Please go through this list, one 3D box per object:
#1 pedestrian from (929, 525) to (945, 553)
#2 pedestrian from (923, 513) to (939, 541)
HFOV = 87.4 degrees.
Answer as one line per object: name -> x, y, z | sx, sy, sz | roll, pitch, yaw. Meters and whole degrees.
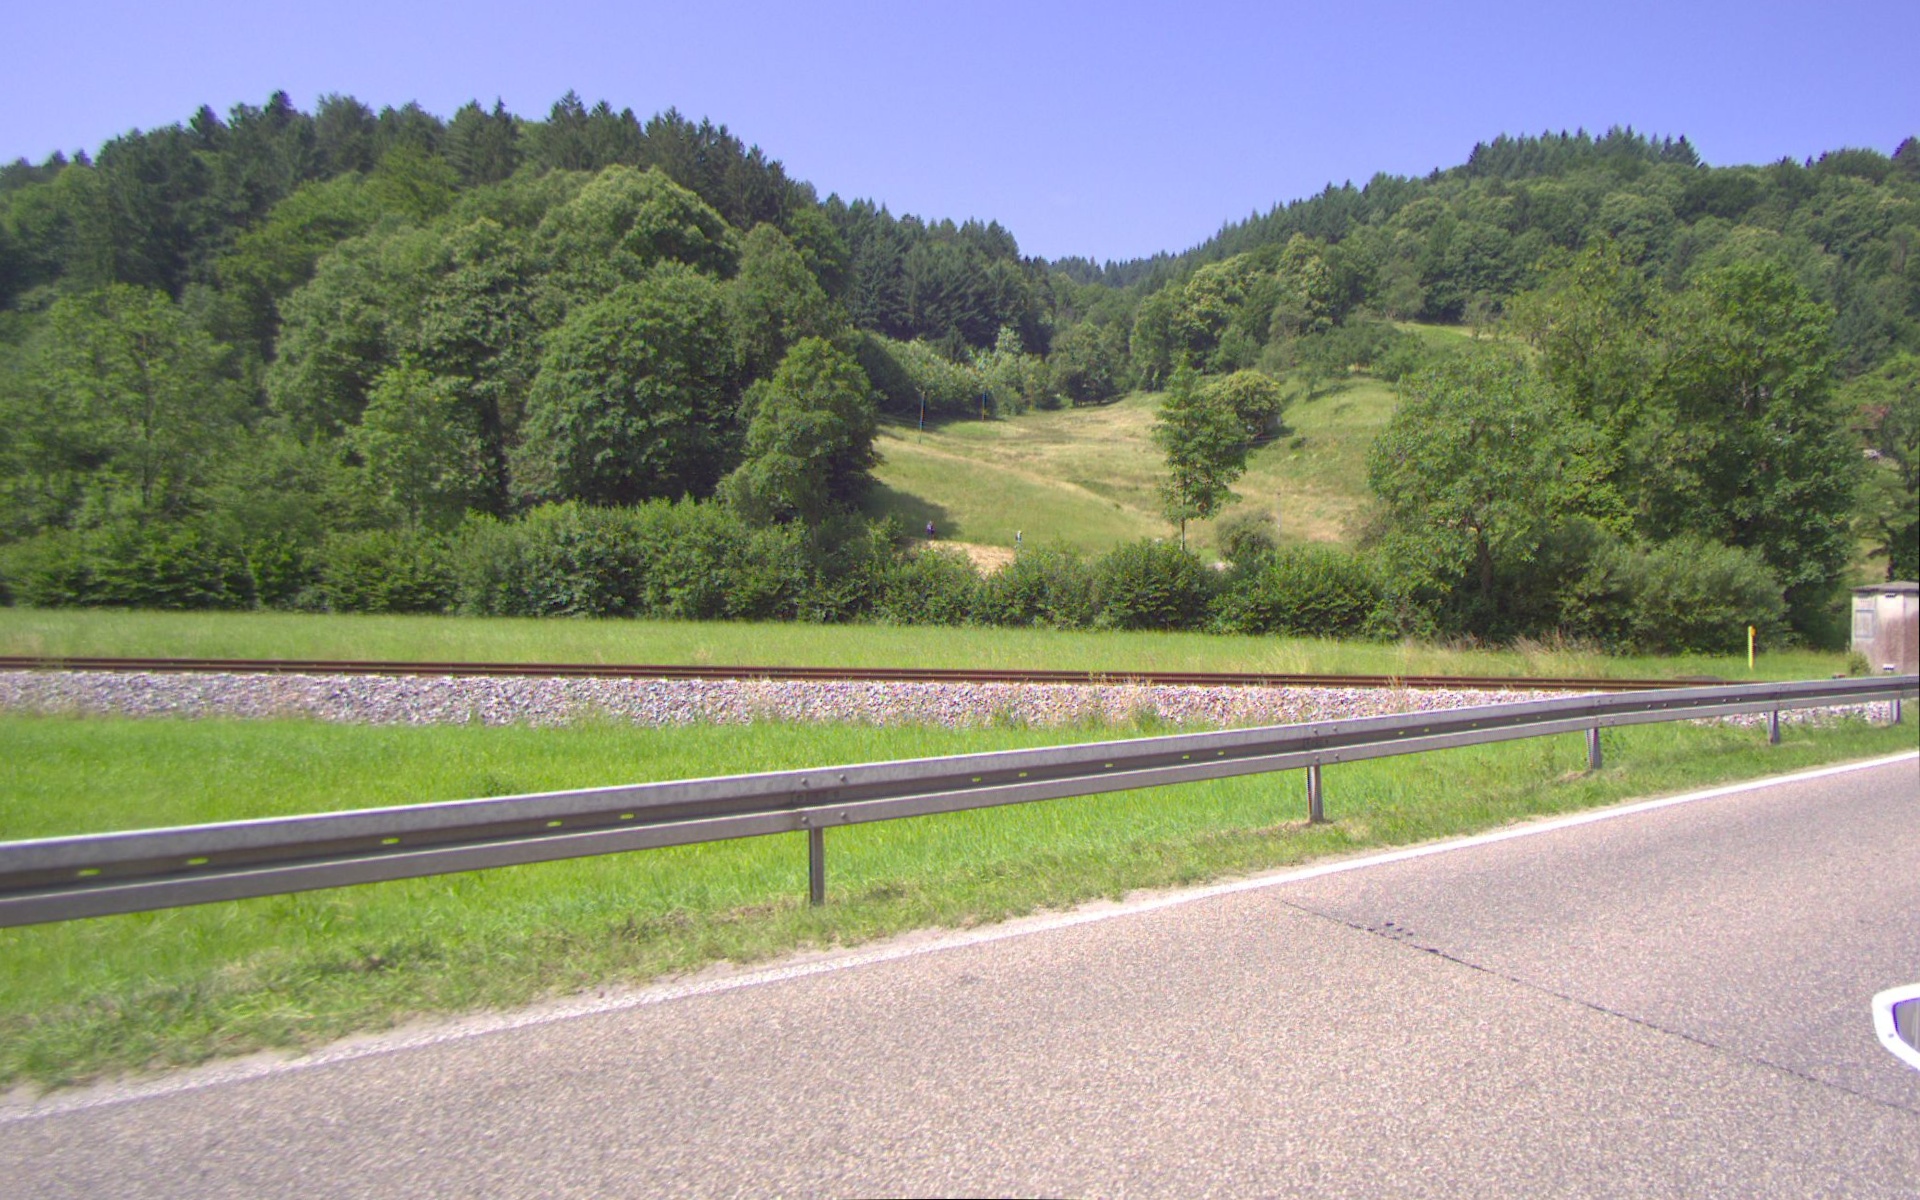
pedestrian -> -2.157, -5.613, 92.605 | 1.061, 2.398, 1.074 | 1, 0, -32
pedestrian -> -2.637, -6.556, 90.910 | 1.061, 2.398, 1.074 | 1, 0, -32
